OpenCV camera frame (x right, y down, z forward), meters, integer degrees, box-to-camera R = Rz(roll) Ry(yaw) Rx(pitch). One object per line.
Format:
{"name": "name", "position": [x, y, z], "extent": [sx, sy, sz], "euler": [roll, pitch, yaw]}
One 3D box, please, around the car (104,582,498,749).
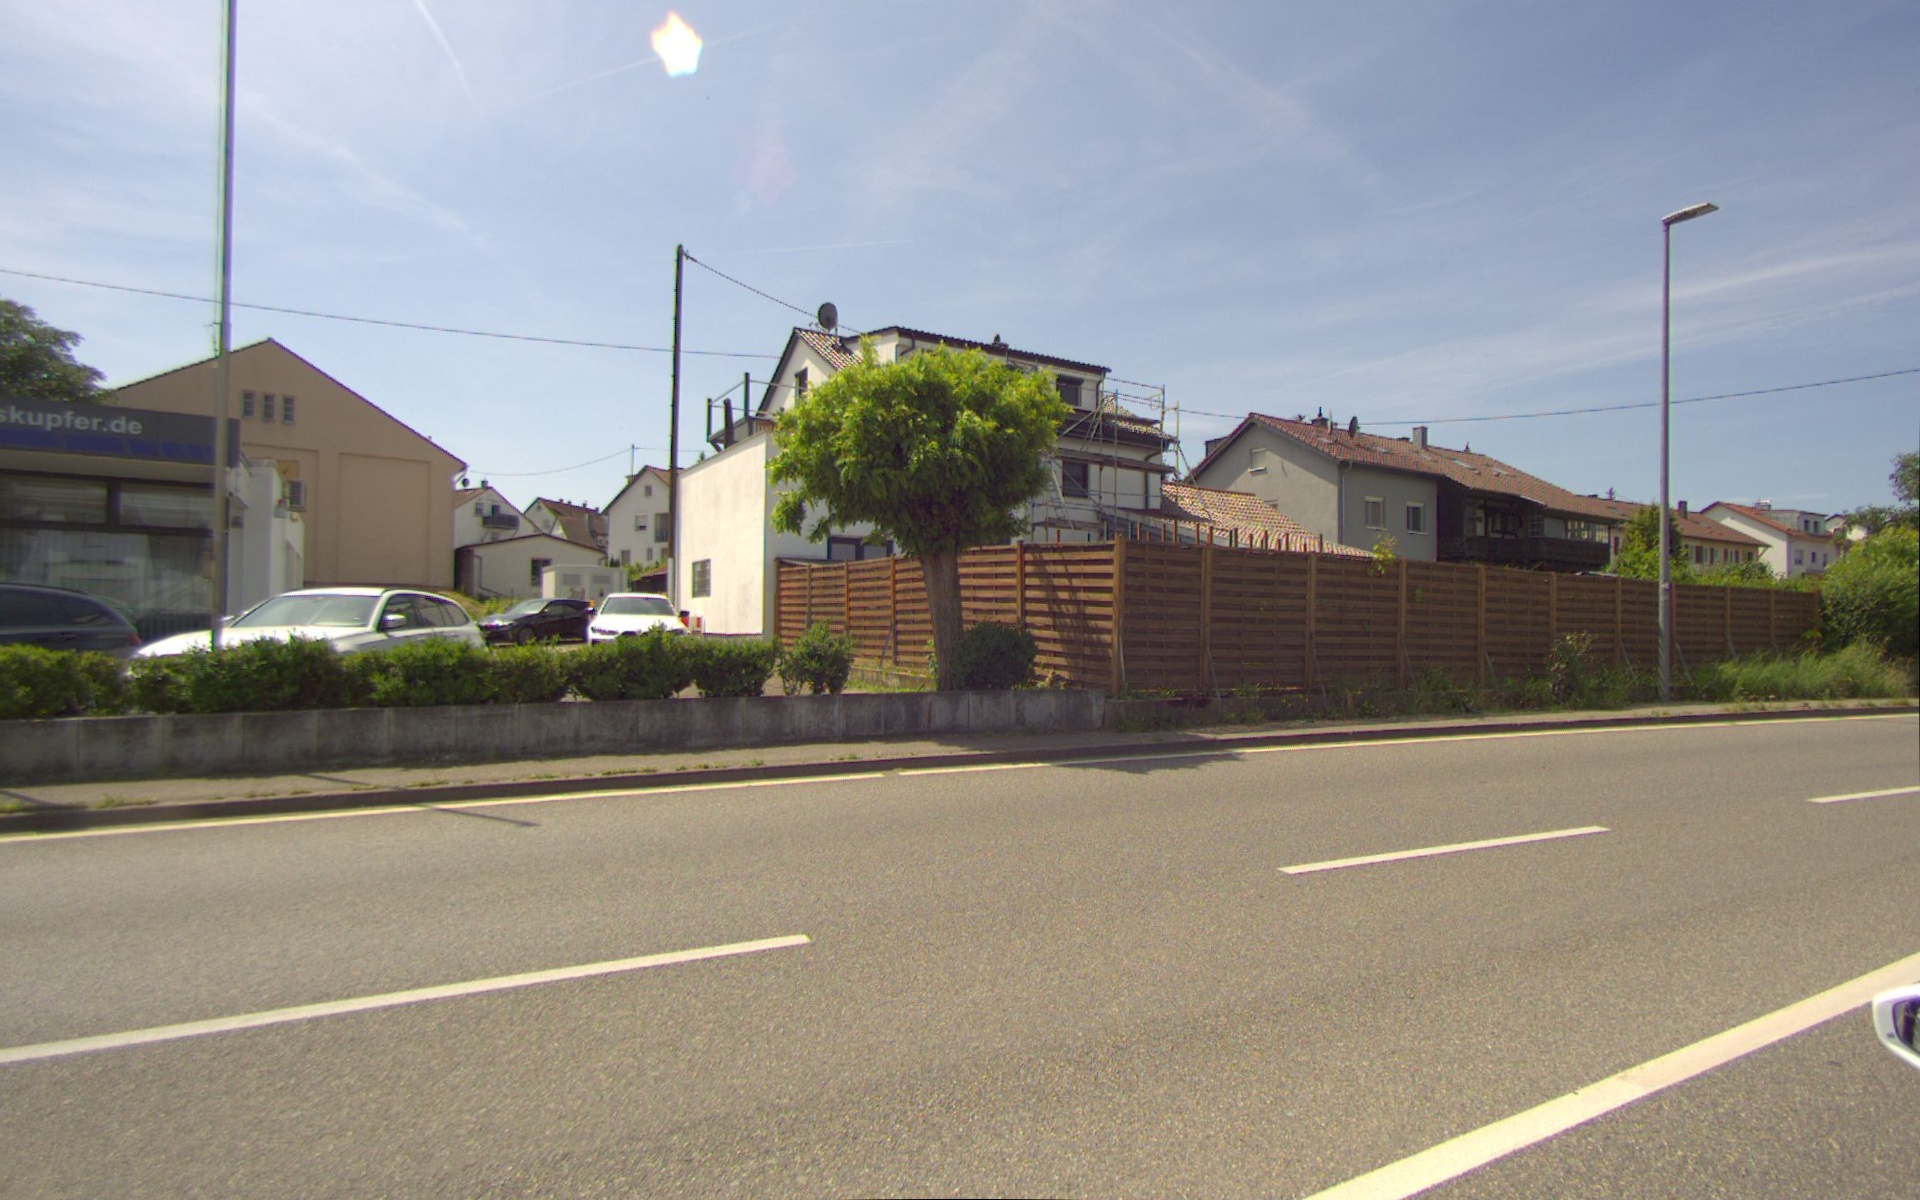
{"name": "car", "position": [-6.988, 0.613, 11.326], "extent": [1.822, 1.467, 4.339], "euler": [2, 0, -5]}

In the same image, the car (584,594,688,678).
{"name": "car", "position": [-6.503, 0.652, 20.368], "extent": [1.805, 1.530, 3.985], "euler": [1, 0, -17]}

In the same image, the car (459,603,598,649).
{"name": "car", "position": [-13.528, 0.768, 31.758], "extent": [1.756, 1.238, 3.999], "euler": [2, 1, 21]}

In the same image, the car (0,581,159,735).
{"name": "car", "position": [-10.187, 0.542, 9.558], "extent": [1.863, 1.467, 4.339], "euler": [2, 0, -5]}
